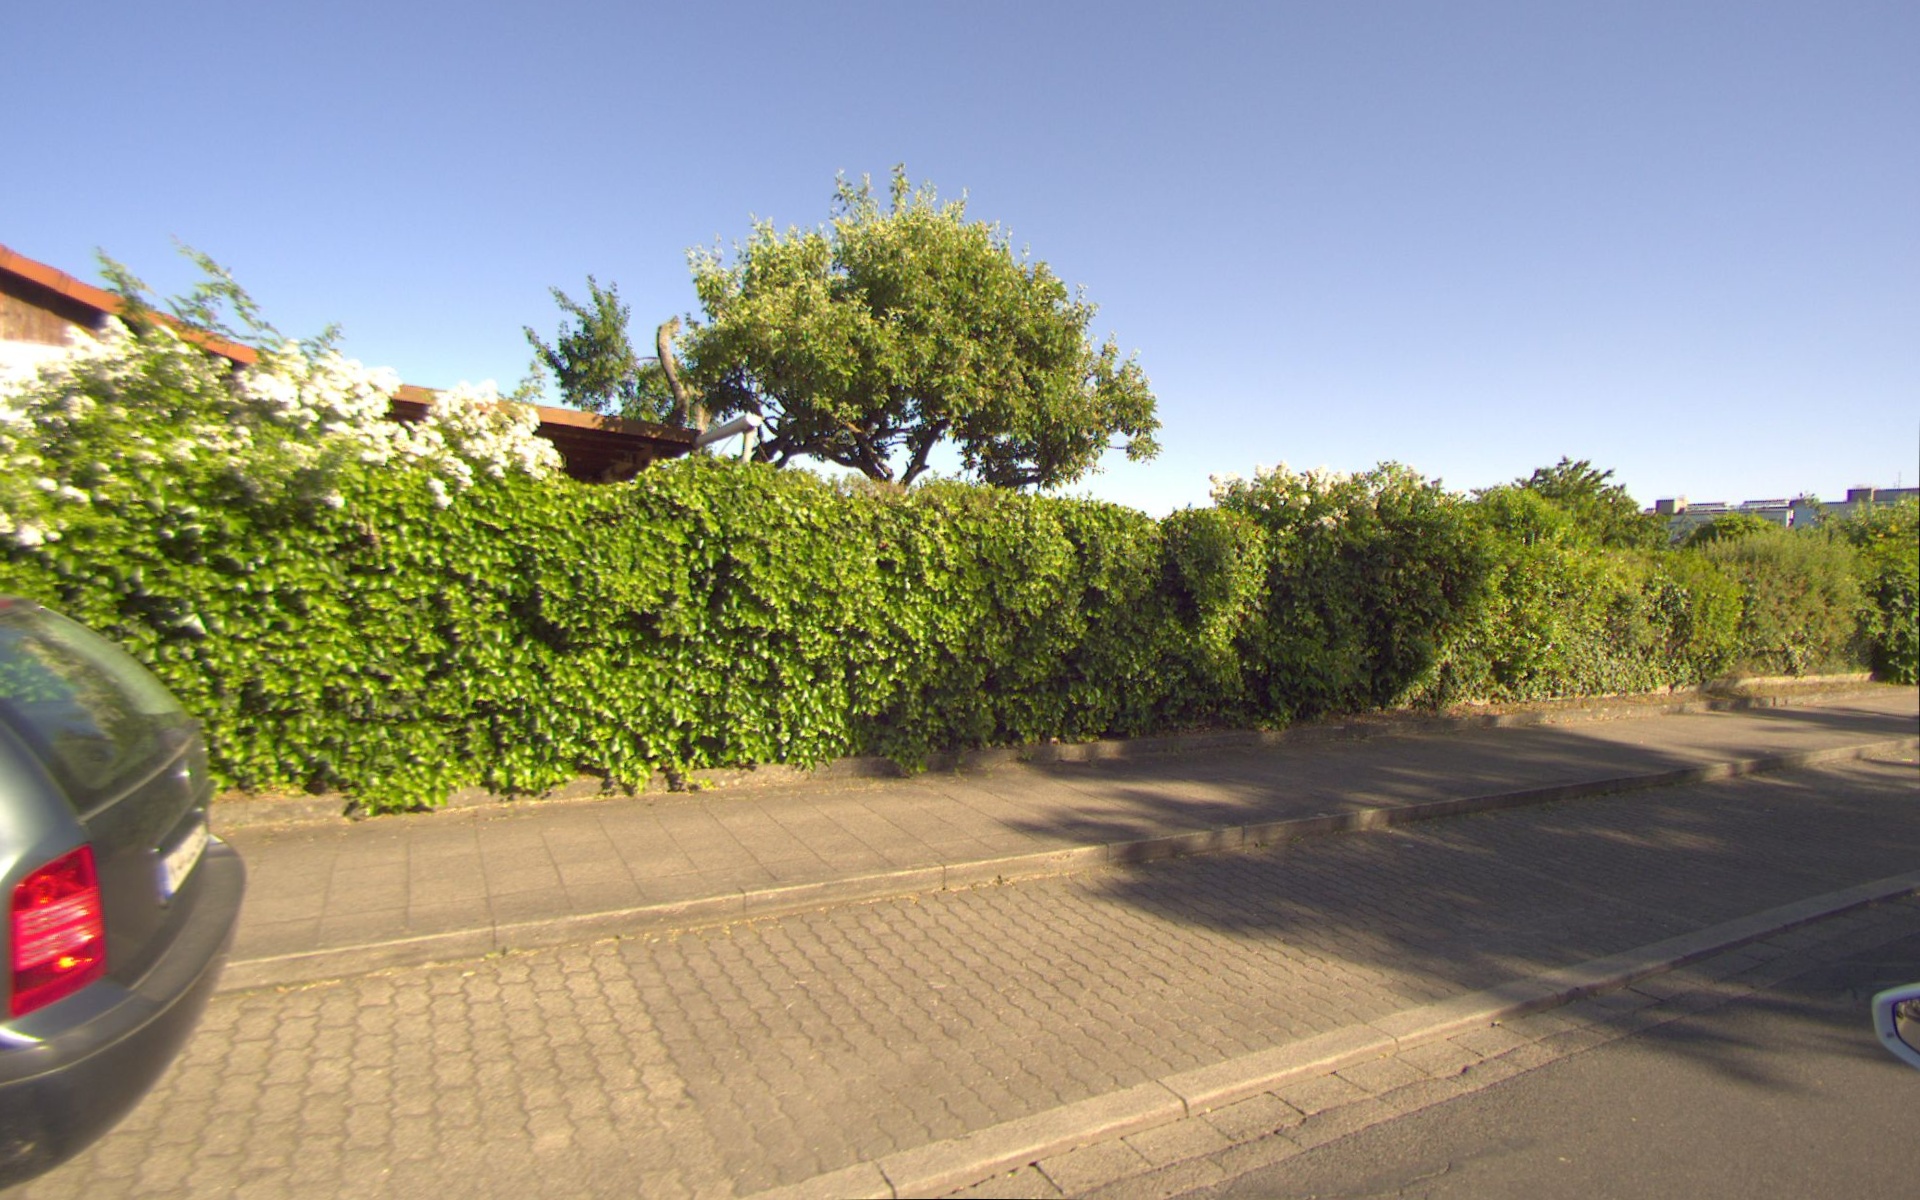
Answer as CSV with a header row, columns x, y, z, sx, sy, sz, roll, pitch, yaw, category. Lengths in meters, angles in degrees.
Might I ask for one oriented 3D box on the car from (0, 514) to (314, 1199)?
x,y,z,sx,sy,sz,roll,pitch,yaw,category
-3.687,0.587,1.592,4.364,1.577,1.635,1,5,-30,car
